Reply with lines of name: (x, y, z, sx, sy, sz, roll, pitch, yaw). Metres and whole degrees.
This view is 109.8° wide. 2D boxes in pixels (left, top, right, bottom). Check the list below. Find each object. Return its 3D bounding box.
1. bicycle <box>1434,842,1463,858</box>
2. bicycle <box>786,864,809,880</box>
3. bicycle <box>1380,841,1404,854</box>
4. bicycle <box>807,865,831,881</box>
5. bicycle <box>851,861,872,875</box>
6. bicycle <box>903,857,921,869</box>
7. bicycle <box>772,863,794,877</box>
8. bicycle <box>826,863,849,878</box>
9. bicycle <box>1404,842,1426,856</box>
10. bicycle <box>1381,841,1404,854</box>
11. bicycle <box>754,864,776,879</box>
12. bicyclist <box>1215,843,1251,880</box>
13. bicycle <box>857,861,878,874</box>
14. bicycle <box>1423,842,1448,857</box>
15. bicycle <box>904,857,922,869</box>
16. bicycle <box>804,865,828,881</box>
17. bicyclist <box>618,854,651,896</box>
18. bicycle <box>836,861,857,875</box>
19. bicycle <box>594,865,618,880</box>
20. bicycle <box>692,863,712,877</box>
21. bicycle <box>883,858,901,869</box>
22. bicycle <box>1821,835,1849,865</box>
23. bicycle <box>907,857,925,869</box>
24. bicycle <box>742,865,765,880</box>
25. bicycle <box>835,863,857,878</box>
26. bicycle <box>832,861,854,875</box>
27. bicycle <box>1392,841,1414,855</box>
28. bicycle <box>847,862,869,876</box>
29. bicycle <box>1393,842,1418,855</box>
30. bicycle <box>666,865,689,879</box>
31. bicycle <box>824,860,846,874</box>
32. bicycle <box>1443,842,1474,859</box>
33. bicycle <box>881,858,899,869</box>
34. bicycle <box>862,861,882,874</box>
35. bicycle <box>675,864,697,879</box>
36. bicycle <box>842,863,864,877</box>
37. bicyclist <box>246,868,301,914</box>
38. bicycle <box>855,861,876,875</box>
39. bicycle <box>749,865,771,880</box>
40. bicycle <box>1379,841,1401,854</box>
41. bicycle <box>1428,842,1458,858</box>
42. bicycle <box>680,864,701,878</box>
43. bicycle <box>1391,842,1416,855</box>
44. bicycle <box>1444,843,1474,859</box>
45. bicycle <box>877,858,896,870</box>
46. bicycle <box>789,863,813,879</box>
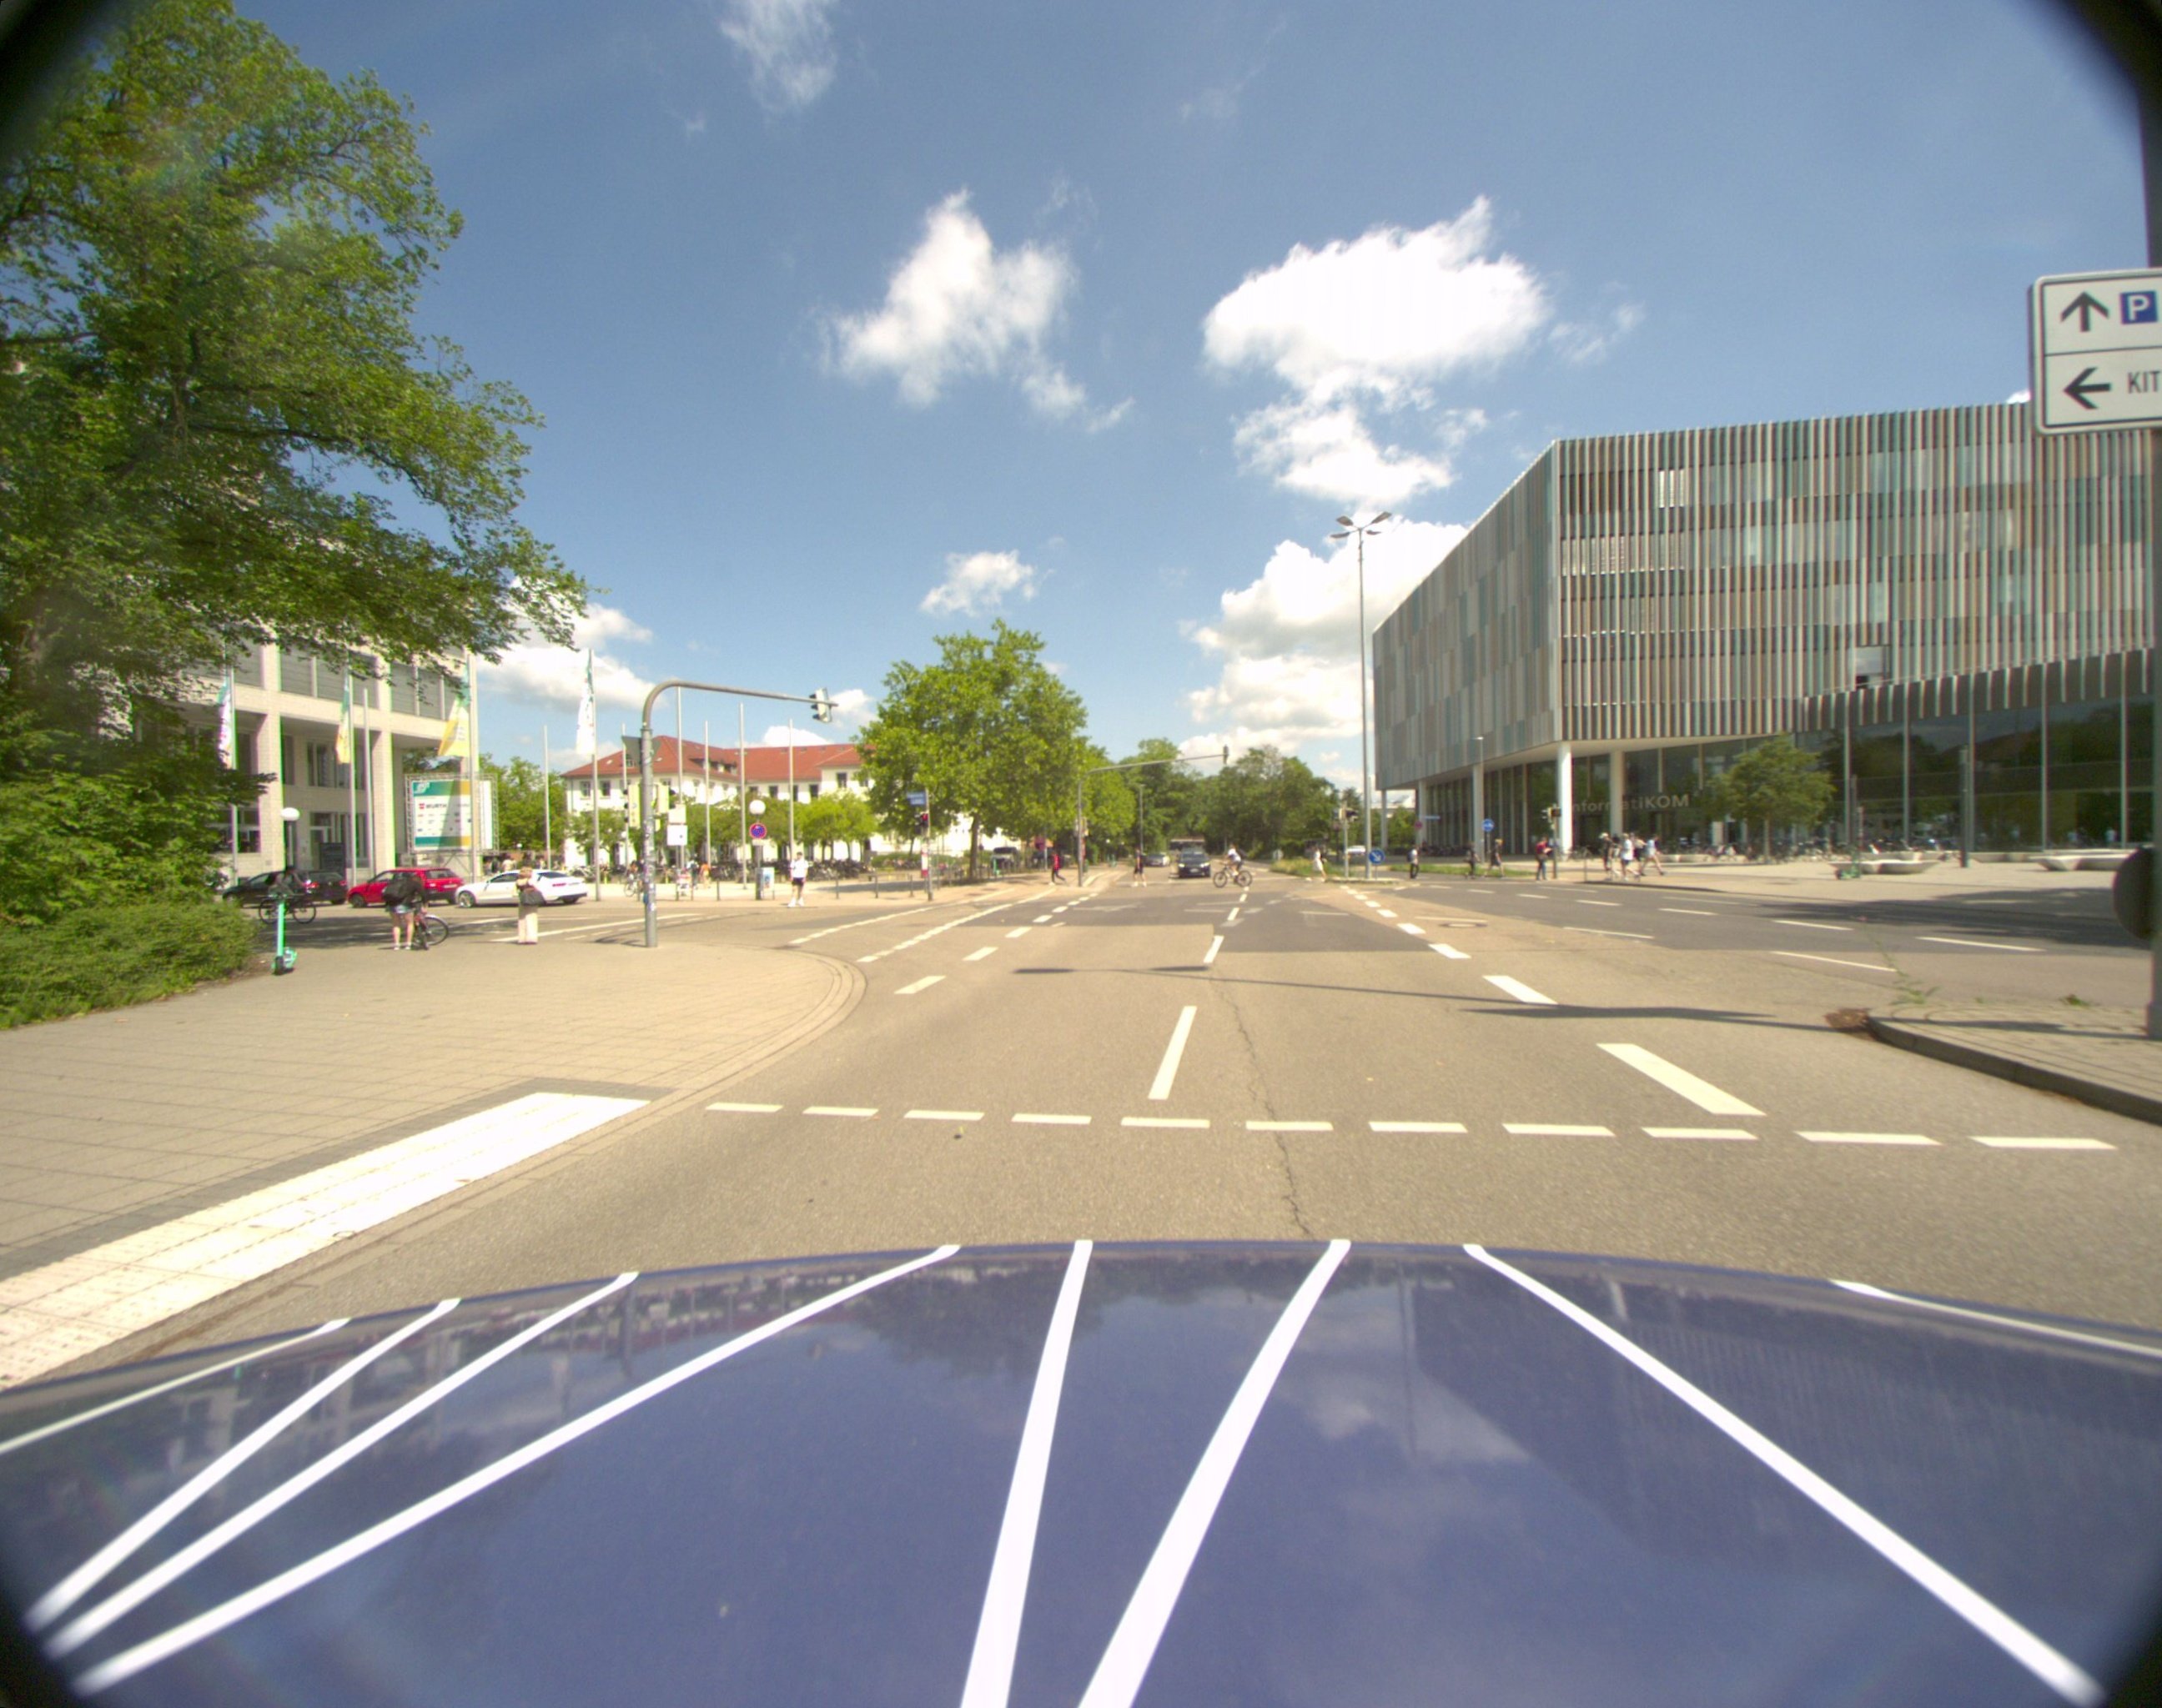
bicycle: (36.109, -0.392, 74.729, 2.509, 1.486, 0.621, -1, 1, 10)
bicycle: (-18.382, 1.137, 49.246, 1.370, 0.995, 0.352, -1, 1, 4)
bicycle: (37.378, -0.743, 91.348, 2.509, 1.486, 0.621, -1, 1, 10)
bicycle: (-16.708, 1.208, 48.493, 1.370, 0.941, 0.352, -1, 1, 4)
bicycle: (-15.534, 1.018, 53.750, 1.370, 0.945, 0.352, -1, 1, 4)
bicycle: (-14.181, 0.780, 63.690, 1.427, 0.945, 0.352, -1, 1, 4)
bicycle: (-21.238, 1.124, 54.146, 1.371, 0.945, 0.352, -1, 1, 1)
bicycle: (-16.019, 1.088, 49.956, 1.370, 0.945, 0.352, -1, 1, 4)
bicycle: (36.635, -0.569, 83.290, 2.069, 1.486, 0.621, -1, 1, 10)
bicycle: (37.161, -0.724, 90.674, 2.509, 1.486, 0.621, -1, 1, 10)
bicycle: (-20.982, 1.171, 50.472, 1.369, 0.945, 0.352, -1, 1, 13)
bicyclist: (6.148, 0.313, 30.739, 1.074, 1.436, 0.974, -1, 1, 38)
bicycle: (-15.431, 0.978, 54.898, 1.370, 0.945, 0.352, -1, 1, 4)
bicycle: (35.868, -0.429, 76.993, 2.198, 1.486, 0.621, -1, 1, 10)
bicycle: (-14.179, 0.770, 64.168, 1.427, 0.945, 0.352, -1, 1, 4)
bicycle: (-16.692, 1.210, 47.915, 1.370, 0.945, 0.352, -1, 1, 4)
bicyclist: (-20.210, 0.944, 34.420, 1.085, 1.843, 0.685, -1, 2, 21)
bicycle: (-17.053, 1.014, 55.210, 1.411, 0.945, 0.352, -1, 1, 4)
bicycle: (-32.180, 1.242, 51.473, 1.371, 0.945, 0.352, -1, 1, -2)
bicycle: (-26.679, 1.153, 53.491, 1.369, 0.945, 0.352, -1, 1, 13)
bicycle: (-16.106, 0.809, 64.627, 1.427, 0.945, 0.352, -1, 1, 4)
bicycle: (39.775, -0.237, 40.060, 3.421, 1.543, 0.997, -2, 1, -44)
bicycle: (-14.088, 0.757, 64.742, 1.427, 0.945, 0.352, -1, 1, 4)
bicycle: (-21.347, 1.237, 49.522, 1.369, 0.945, 0.352, -1, 1, 13)
bicycle: (-15.623, 1.110, 50.516, 1.370, 0.945, 0.352, -1, 1, 4)
bicycle: (-17.117, 1.026, 54.674, 1.411, 0.945, 0.352, -1, 1, 4)
bicycle: (37.272, -0.676, 87.995, 2.328, 1.486, 0.621, -1, 1, 10)
bicycle: (-15.569, 1.050, 53.099, 1.370, 0.945, 0.352, -2, 1, 4)
bicycle: (36.625, -0.619, 85.889, 2.509, 1.486, 0.621, -1, 1, 10)
bicycle: (-26.679, 1.193, 50.232, 1.369, 0.945, 0.352, -1, 1, 13)
bicycle: (-17.331, 0.920, 53.572, 1.411, 0.945, 0.352, -1, 1, 4)
bicycle: (35.394, -0.307, 71.216, 2.508, 1.486, 0.731, -1, 1, 19)
bicycle: (-16.118, 0.817, 64.212, 1.427, 0.945, 0.352, -1, 1, 4)
bicycle: (-15.234, 0.965, 55.380, 1.370, 0.945, 0.352, -1, 1, 4)
bicycle: (-26.466, 1.172, 50.880, 1.369, 0.945, 0.352, -1, 1, 13)
bicycle: (-15.361, 1.069, 51.190, 1.370, 0.945, 0.352, -1, 1, 4)
bicyclist: (-22.766, 1.033, 21.438, 0.834, 1.219, 0.618, -2, 1, -7)
bicycle: (-15.454, 0.989, 54.405, 1.370, 0.945, 0.352, -1, 1, 4)
bicycle: (-21.098, 1.200, 49.923, 1.369, 0.945, 0.352, -1, 1, 13)
bicycle: (37.674, -0.774, 92.604, 2.301, 1.486, 0.657, -1, 1, 10)
bicycle: (35.235, -0.356, 73.958, 2.509, 1.486, 0.621, -1, 1, 10)
bicycle: (-26.409, 1.167, 51.393, 1.369, 0.945, 0.352, -1, 1, 13)
bicycle: (36.890, -0.647, 86.974, 2.509, 1.486, 0.621, -1, 1, 10)
bicycle: (34.954, -0.277, 70.267, 2.449, 1.486, 0.621, -1, 1, 10)
bicycle: (-16.283, 0.834, 63.562, 1.427, 0.945, 0.352, -1, 1, 4)
bicycle: (-18.333, 1.118, 49.752, 1.370, 0.995, 0.352, -1, 1, 4)
